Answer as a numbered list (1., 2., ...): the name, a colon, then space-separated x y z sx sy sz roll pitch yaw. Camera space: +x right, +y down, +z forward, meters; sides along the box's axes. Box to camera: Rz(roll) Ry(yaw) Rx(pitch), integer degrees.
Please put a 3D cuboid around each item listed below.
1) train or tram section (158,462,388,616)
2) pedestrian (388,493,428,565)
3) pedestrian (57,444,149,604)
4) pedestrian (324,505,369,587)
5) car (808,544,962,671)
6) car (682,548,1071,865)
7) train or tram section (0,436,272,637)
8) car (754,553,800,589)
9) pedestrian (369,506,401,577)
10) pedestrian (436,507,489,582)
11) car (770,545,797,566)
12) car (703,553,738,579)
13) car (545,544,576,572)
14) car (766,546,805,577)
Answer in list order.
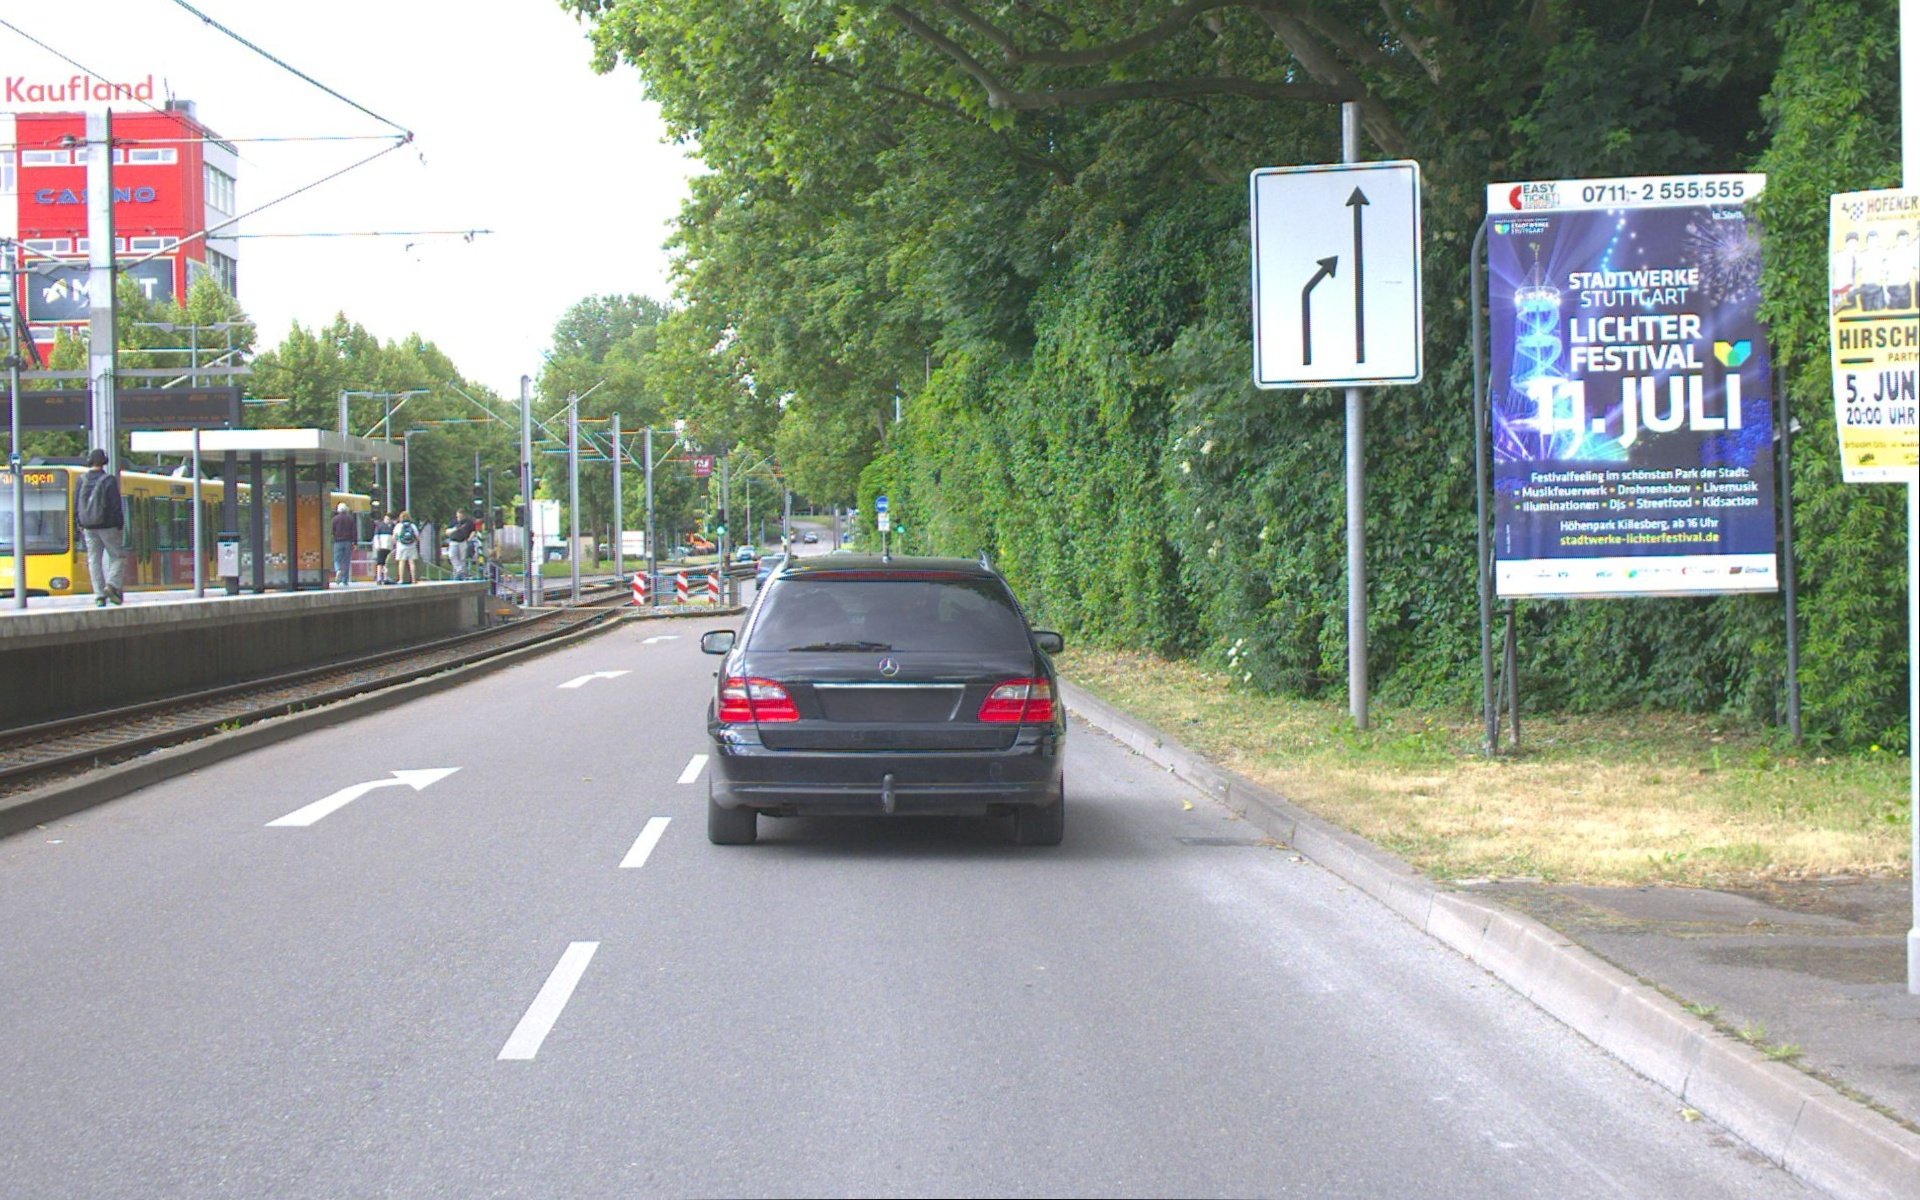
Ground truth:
1. train or tram section: -18.673 -1.623 95.037 2.756 3.815 18.632 0 1 0
2. pedestrian: -11.624 -1.496 72.381 0.520 1.477 0.580 -2 1 36
3. pedestrian: -9.575 -0.844 38.438 0.748 1.738 0.937 -2 0 -2
4. pedestrian: -12.769 -1.124 71.573 0.771 1.672 0.791 -2 0 -2
5. car: -1.000 0.053 43.627 1.825 1.524 4.416 0 1 -3
6. car: -0.527 0.466 18.447 1.833 1.473 4.416 0 1 -3
7. train or tram section: -18.581 -1.370 76.365 2.756 3.869 18.632 -1 1 0
8. car: -8.051 -1.283 151.782 1.825 1.525 4.416 -1 1 -1
9. pedestrian: -12.254 -1.244 73.301 0.475 1.478 0.542 -2 0 9
10. pedestrian: -11.401 -1.266 78.764 0.745 1.672 0.874 -2 1 42
11. car: -12.825 -3.261 250.170 1.825 1.524 3.986 0 1 -1
12. car: -14.360 -2.060 206.264 1.825 1.524 3.928 0 1 -1
13. car: -30.242 -3.153 260.404 1.993 2.007 4.000 -2 1 -2
14. car: -8.911 -1.979 175.685 1.825 1.524 3.928 0 1 -1
